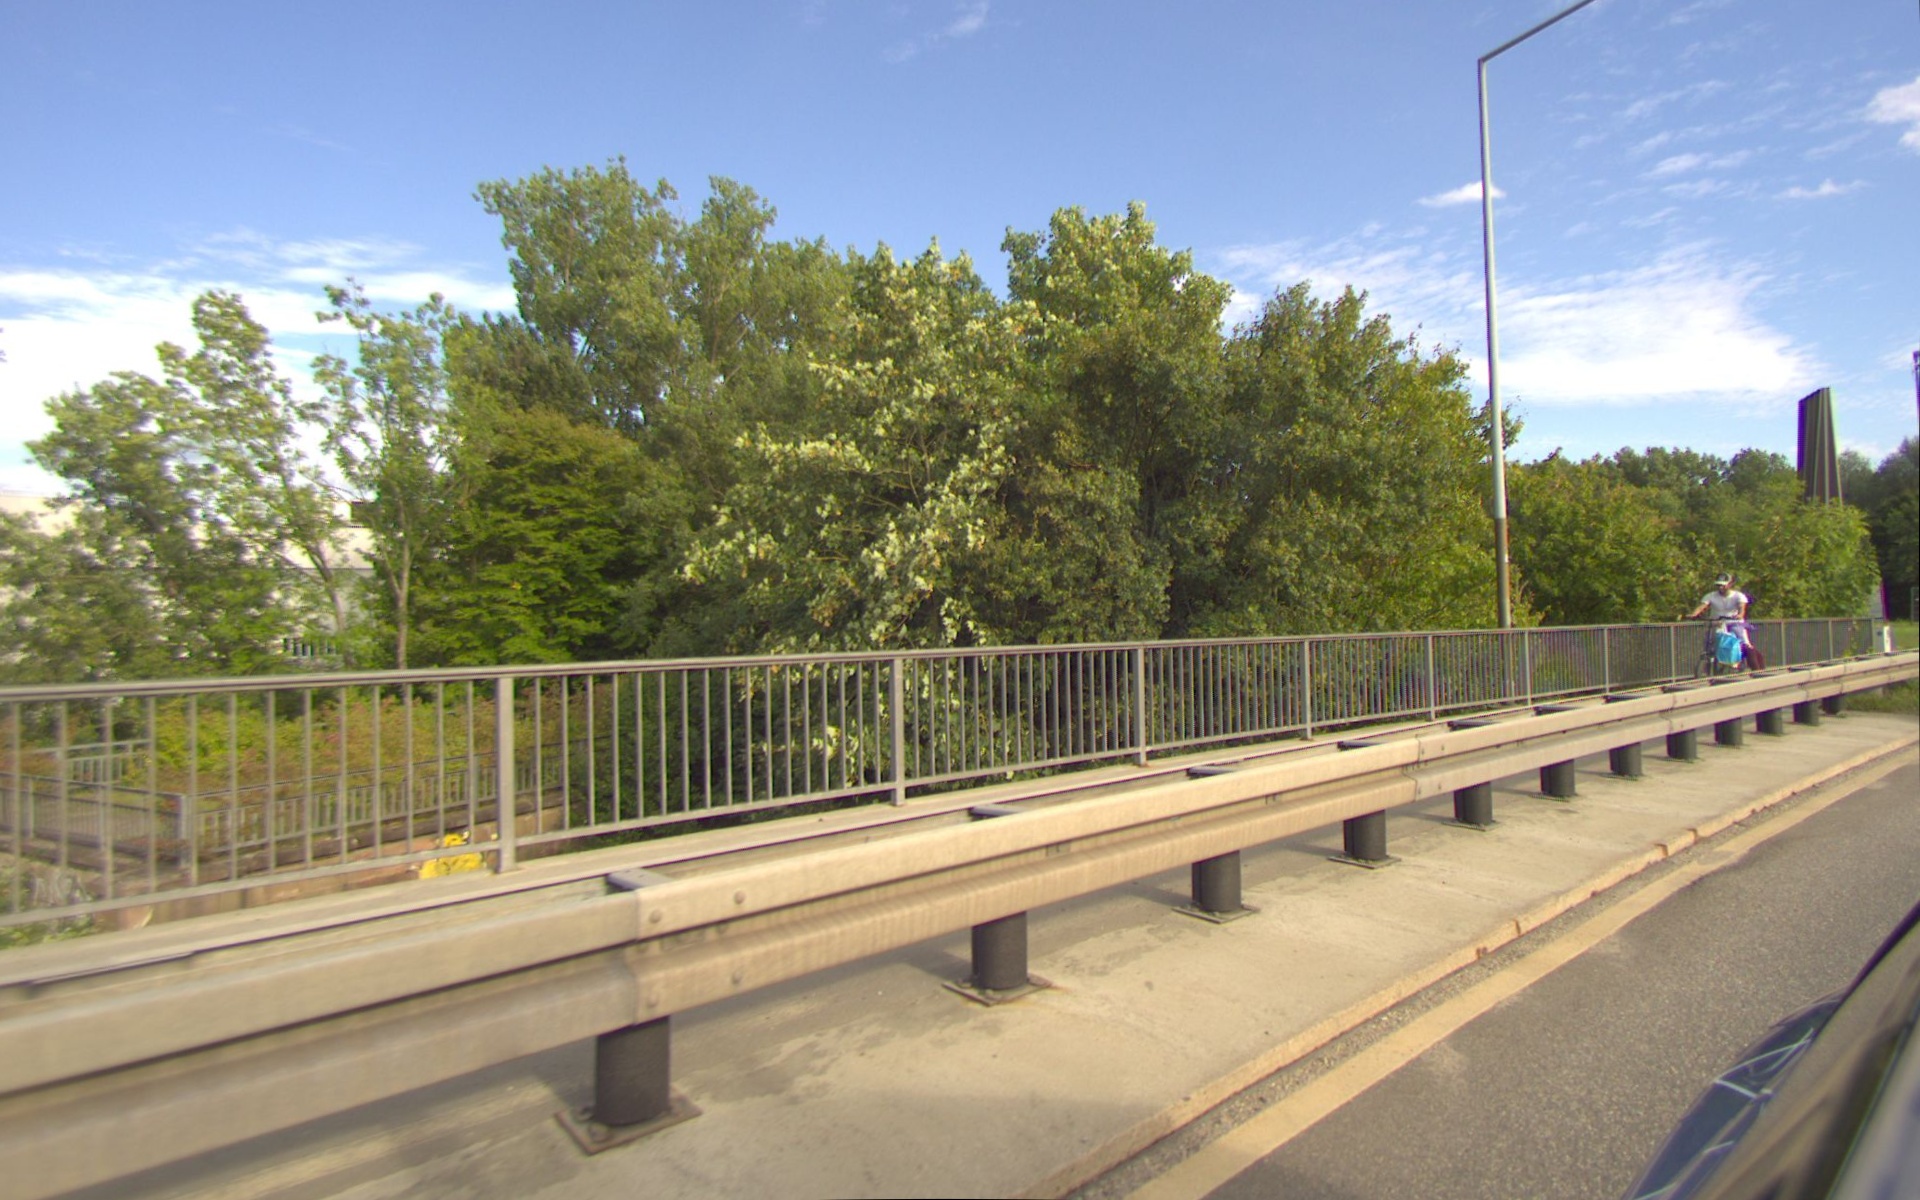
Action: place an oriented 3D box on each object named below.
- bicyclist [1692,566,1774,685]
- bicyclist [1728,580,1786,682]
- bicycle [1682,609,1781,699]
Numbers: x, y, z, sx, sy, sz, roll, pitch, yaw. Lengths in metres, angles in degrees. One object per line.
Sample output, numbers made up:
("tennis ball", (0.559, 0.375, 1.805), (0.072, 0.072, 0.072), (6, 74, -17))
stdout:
("bicyclist", (10.636, 0.328, 13.926), (0.739, 1.576, 0.709), (0, 1, -35))
("bicyclist", (11.146, 0.416, 14.159), (0.528, 1.389, 0.501), (0, 1, -35))
("bicycle", (10.600, 0.712, 13.894), (1.664, 1.134, 0.597), (-1, 1, -35))
